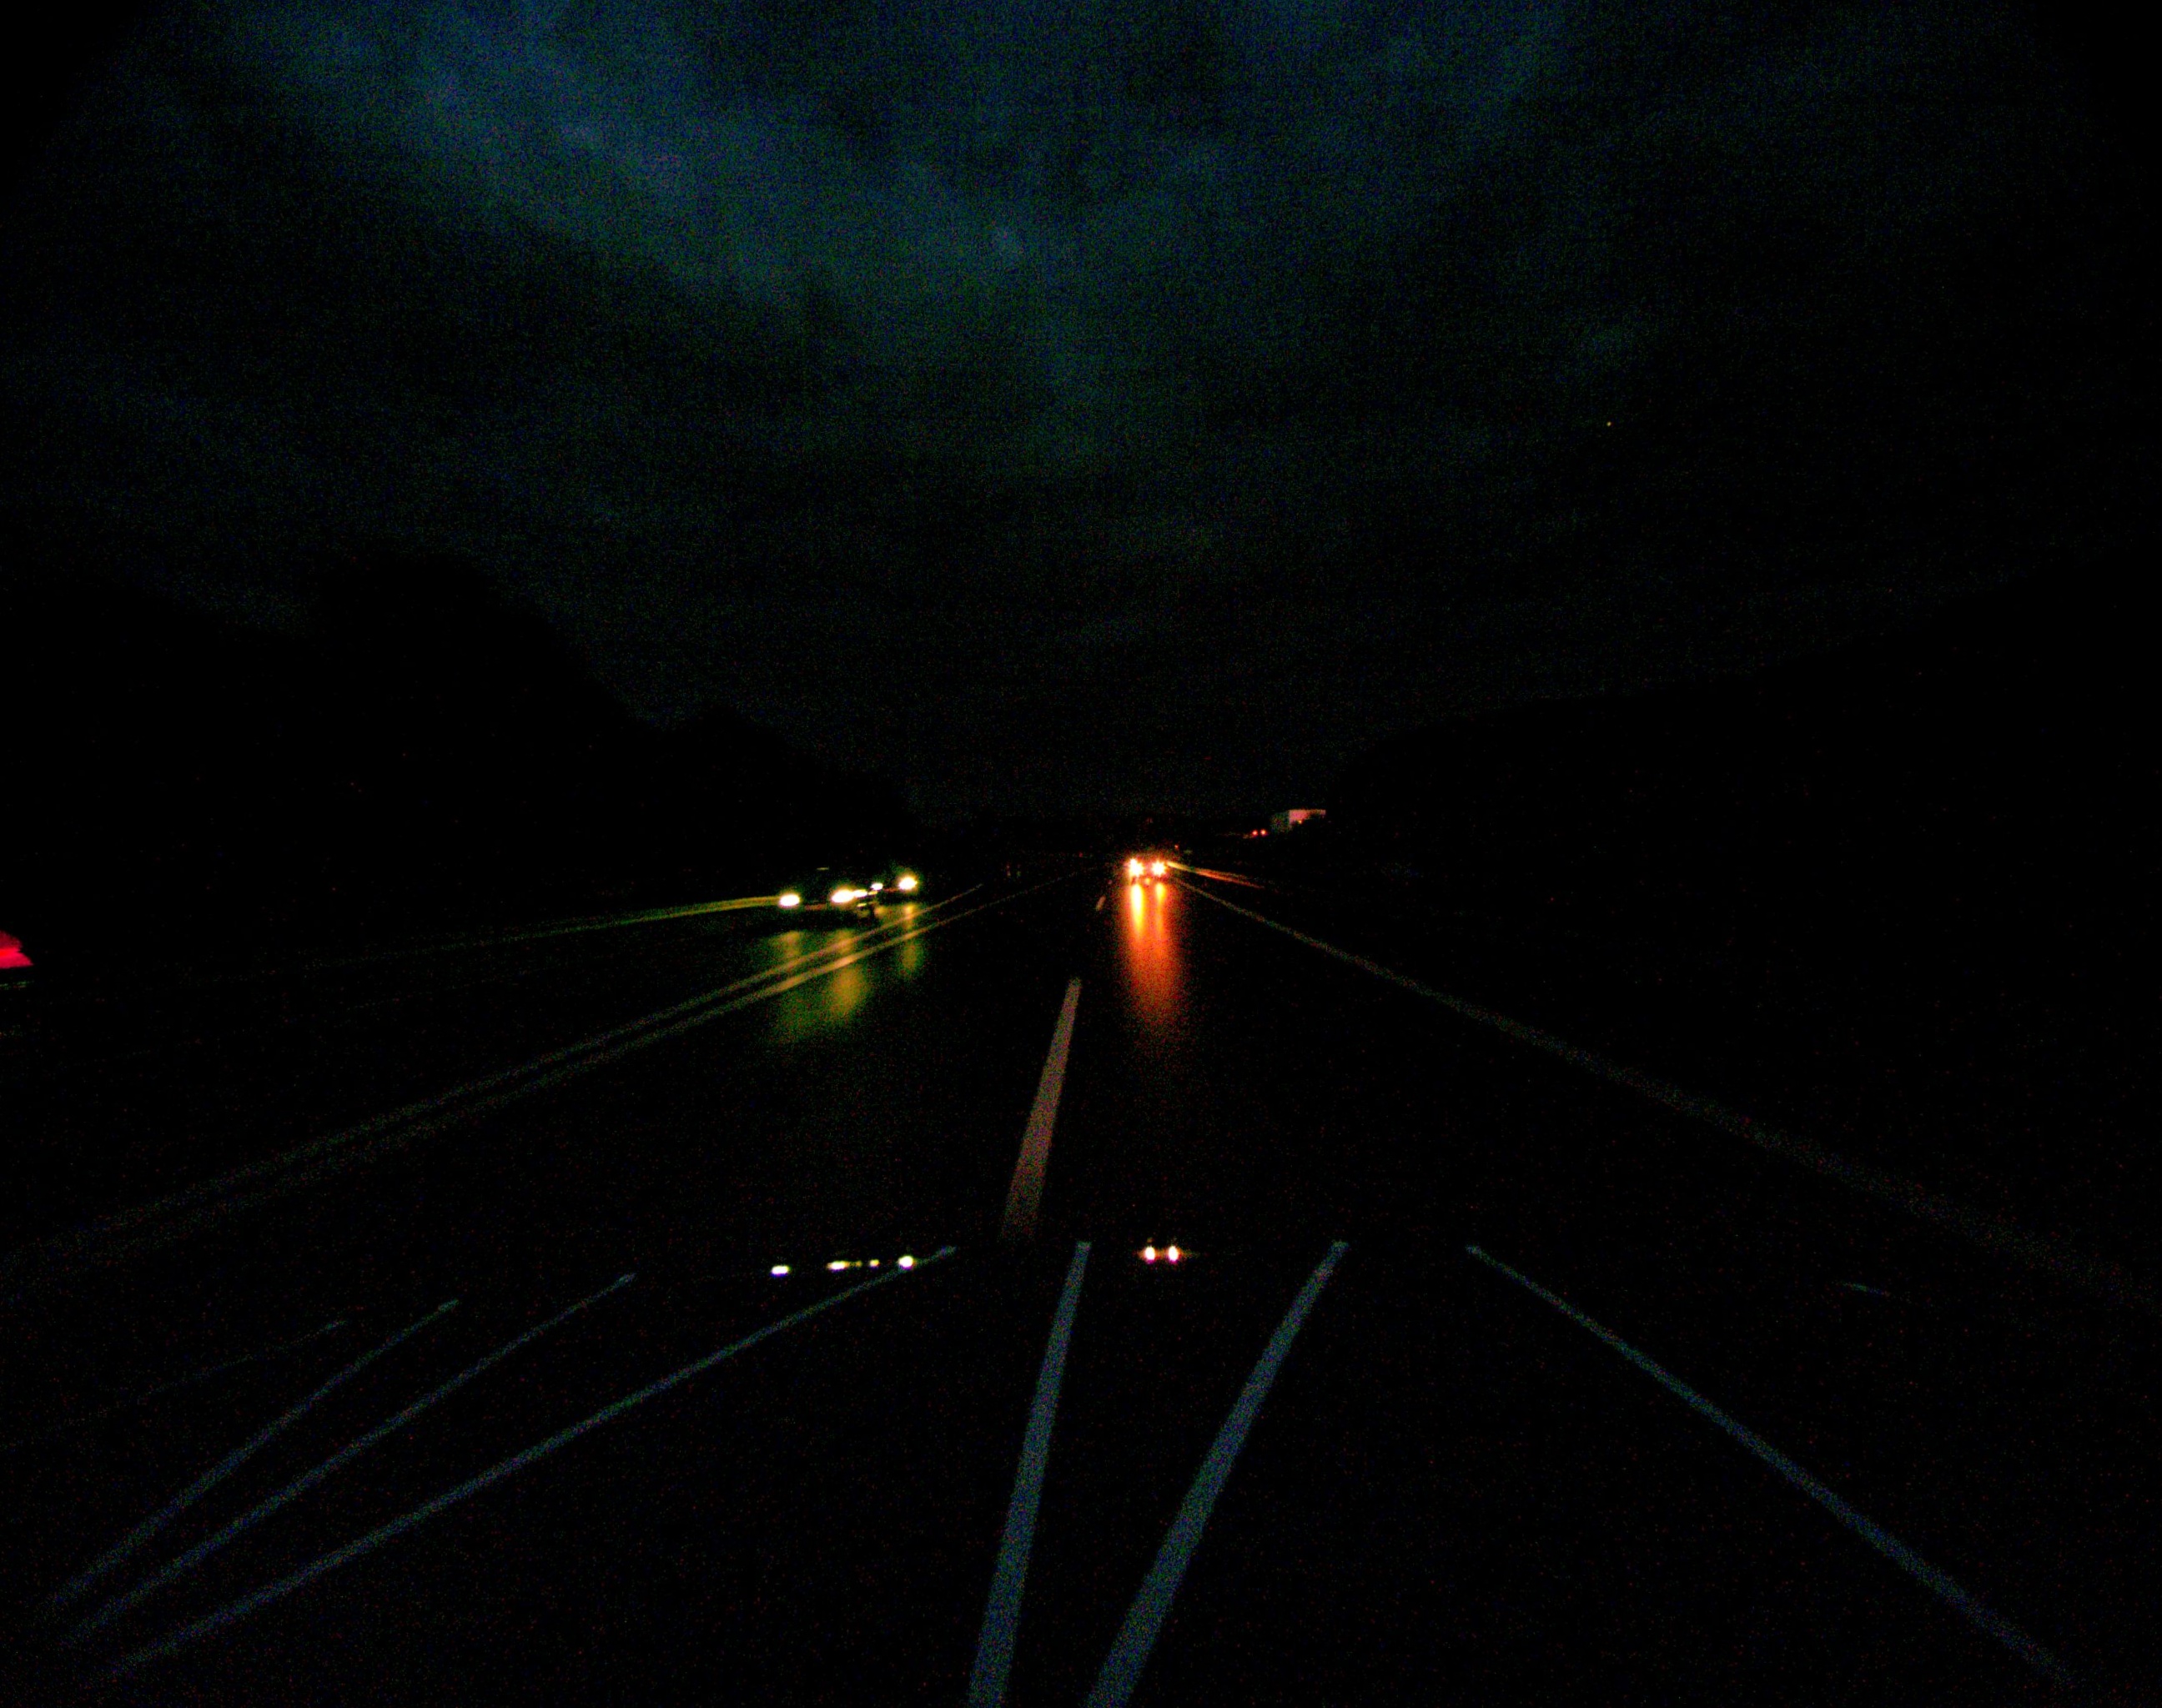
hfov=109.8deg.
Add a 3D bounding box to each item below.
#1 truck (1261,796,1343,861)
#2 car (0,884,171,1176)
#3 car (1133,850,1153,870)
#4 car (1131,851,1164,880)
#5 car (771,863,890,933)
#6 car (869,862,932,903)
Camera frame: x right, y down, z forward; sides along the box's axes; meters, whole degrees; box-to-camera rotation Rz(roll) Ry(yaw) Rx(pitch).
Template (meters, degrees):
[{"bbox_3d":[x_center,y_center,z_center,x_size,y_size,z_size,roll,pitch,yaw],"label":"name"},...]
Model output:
[{"bbox_3d":[16.265,-1.799,56.835,3.046,4.276,9.888,-2,1,-1],"label":"truck"},{"bbox_3d":[-7.093,1.100,2.550,1.803,1.636,5.159,-4,0,-1],"label":"car"},{"bbox_3d":[6.739,0.669,82.037,1.998,2.002,4.001,-2,1,6],"label":"car"},{"bbox_3d":[3.838,0.615,44.399,1.669,1.551,3.757,-2,0,2],"label":"car"},{"bbox_3d":[-6.859,1.123,21.426,1.803,1.483,5.115,-5,1,-3],"label":"car"},{"bbox_3d":[-7.863,1.181,33.477,1.803,1.483,4.434,-5,1,-3],"label":"car"}]
